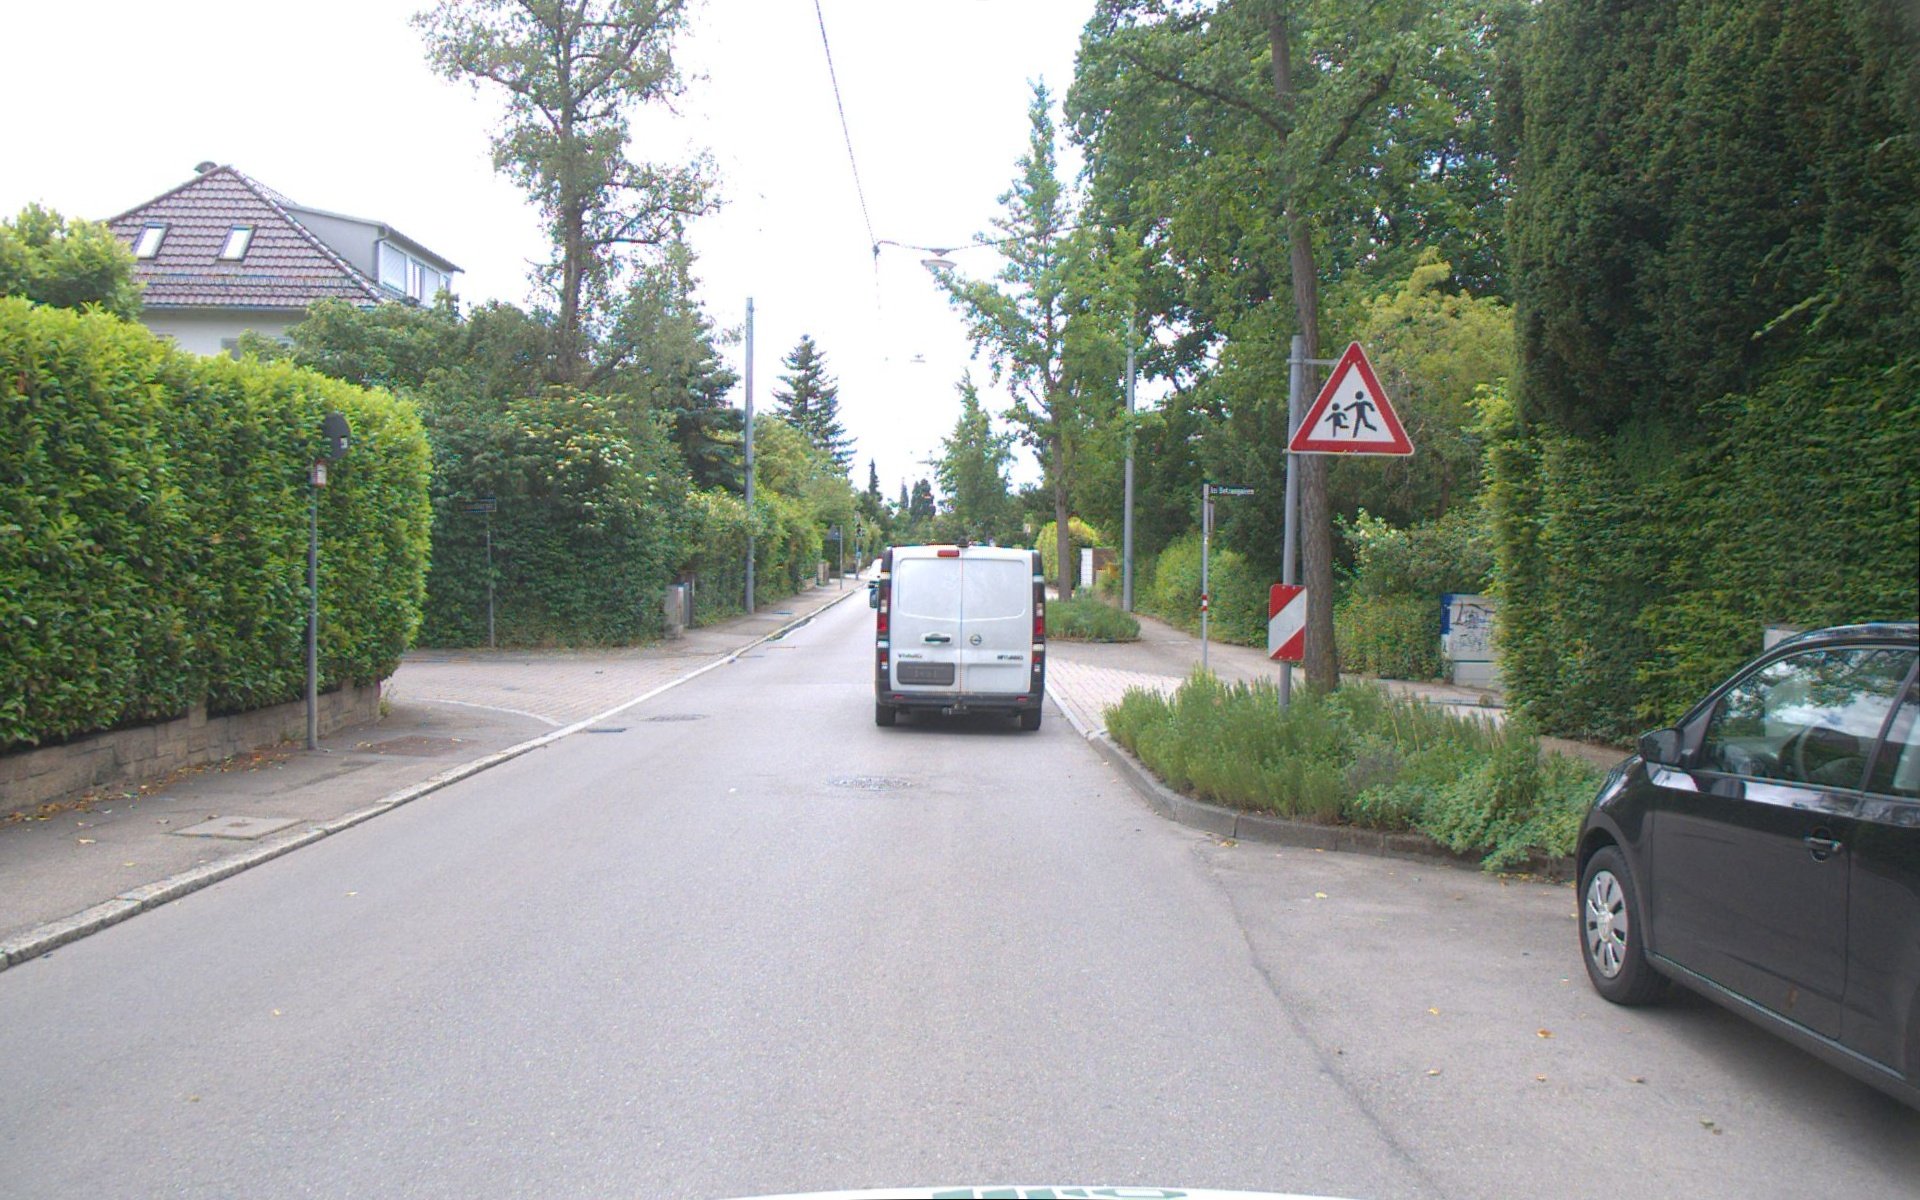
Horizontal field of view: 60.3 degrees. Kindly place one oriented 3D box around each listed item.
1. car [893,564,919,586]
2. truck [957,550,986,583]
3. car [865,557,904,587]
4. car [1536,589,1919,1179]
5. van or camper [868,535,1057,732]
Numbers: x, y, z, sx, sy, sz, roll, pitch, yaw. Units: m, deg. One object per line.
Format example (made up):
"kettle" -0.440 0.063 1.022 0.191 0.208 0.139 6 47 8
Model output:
"car" -3.822 -1.760 116.452 1.769 1.456 4.117 -2 1 -2
"truck" 0.890 -2.758 134.996 2.143 2.514 7.430 2 1 -1
"car" -3.897 -1.458 85.952 1.768 1.456 4.301 -2 1 0
"car" 3.265 0.743 5.126 1.590 1.498 3.740 1 1 -1
"van or camper" -0.033 0.333 19.410 1.900 1.988 4.764 1 0 -2
